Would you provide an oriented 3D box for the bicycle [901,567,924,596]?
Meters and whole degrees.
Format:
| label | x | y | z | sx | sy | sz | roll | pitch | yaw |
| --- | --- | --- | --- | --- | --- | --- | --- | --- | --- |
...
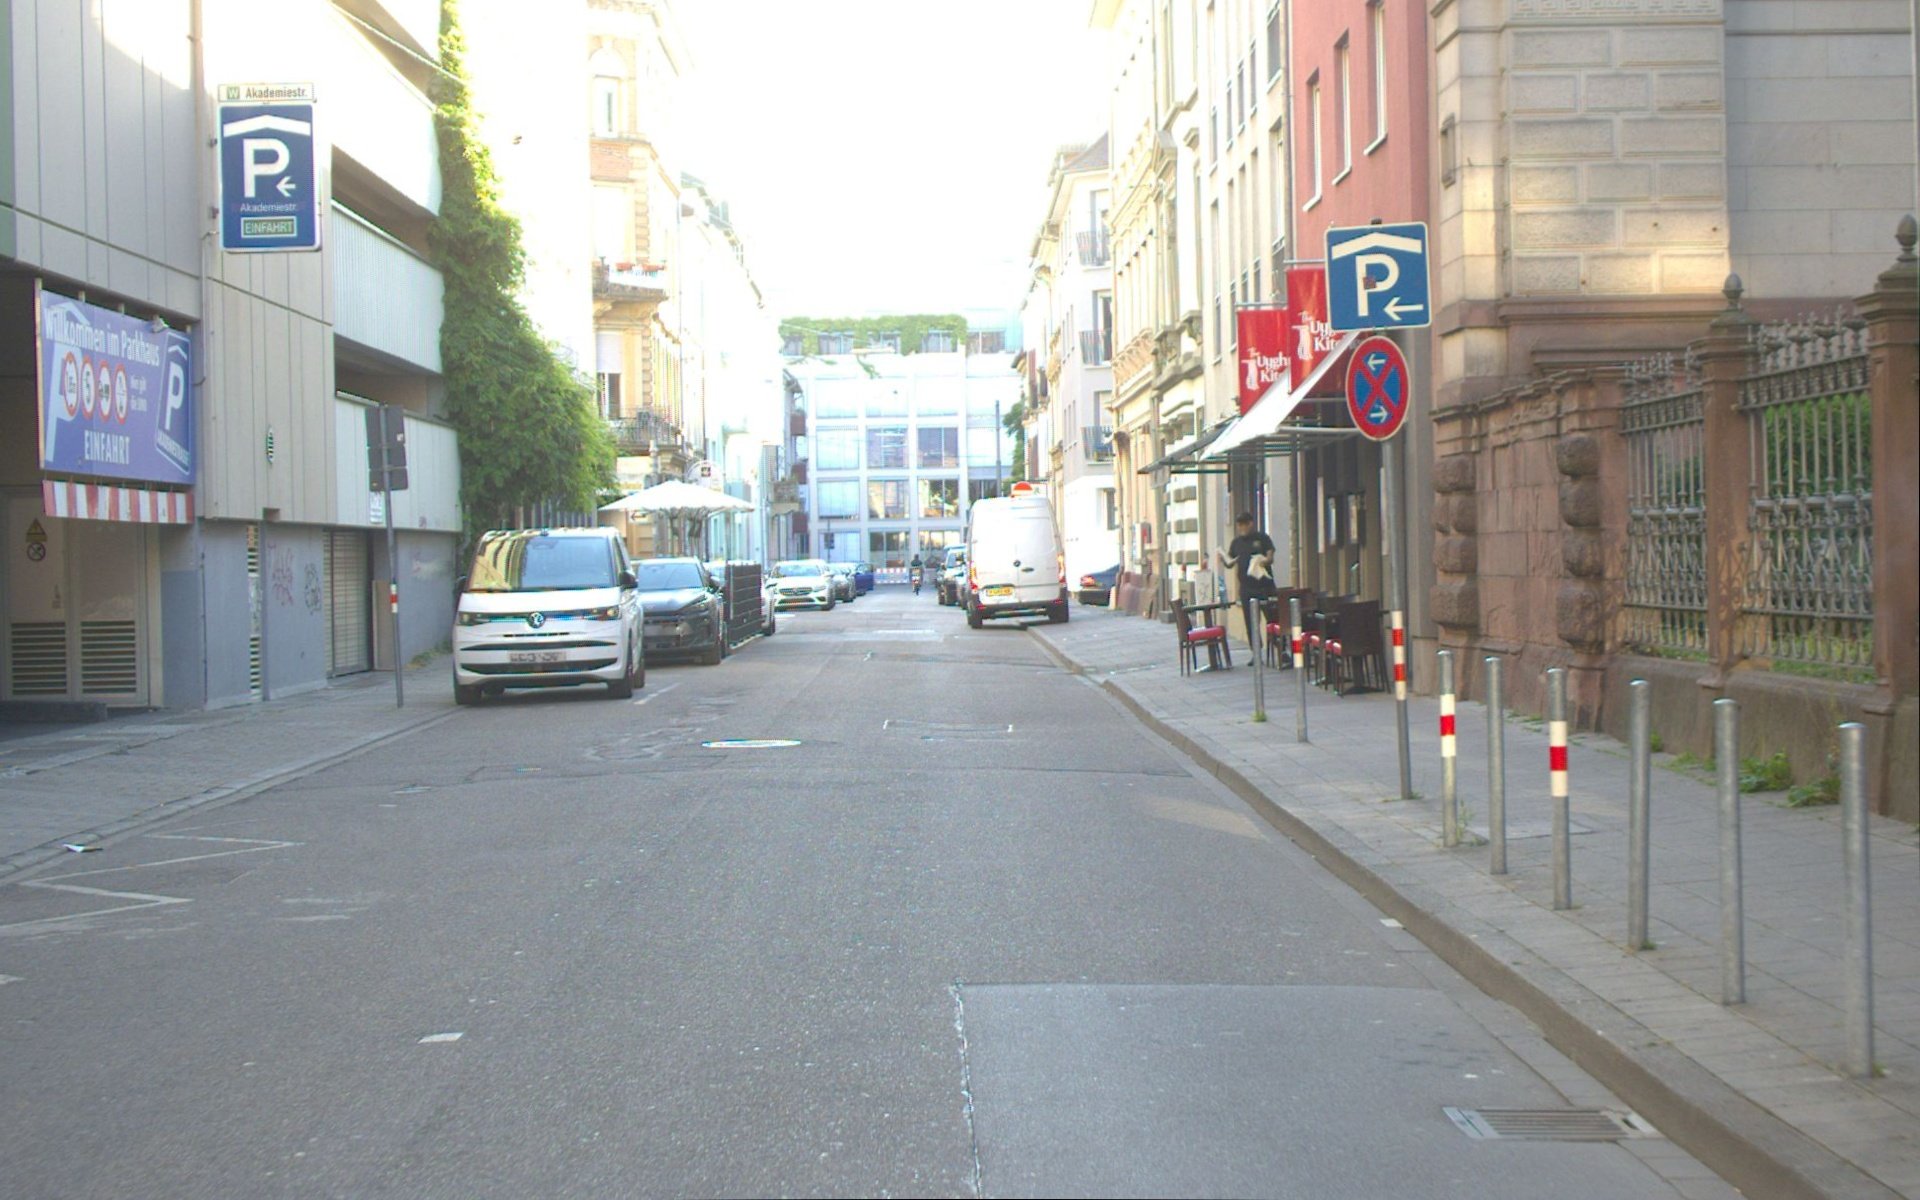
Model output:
| label | x | y | z | sx | sy | sz | roll | pitch | yaw |
| --- | --- | --- | --- | --- | --- | --- | --- | --- | --- |
| bicycle | -2.113 | -0.835 | 154.052 | 0.975 | 1.276 | 2.754 | -1 | 0 | 0 |

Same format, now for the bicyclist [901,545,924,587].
| label | x | y | z | sx | sy | sz | roll | pitch | yaw |
| --- | --- | --- | --- | --- | --- | --- | --- | --- | --- |
| bicyclist | -2.120 | -1.531 | 153.921 | 0.990 | 1.862 | 0.708 | -1 | 0 | 0 |

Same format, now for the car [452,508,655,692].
| label | x | y | z | sx | sy | sz | roll | pitch | yaw |
| --- | --- | --- | --- | --- | --- | --- | --- | --- | --- |
| car | -4.502 | -0.027 | 38.688 | 1.883 | 1.905 | 4.748 | -1 | 1 | -2 |

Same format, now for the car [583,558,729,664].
| label | x | y | z | sx | sy | sz | roll | pitch | yaw |
| --- | --- | --- | --- | --- | --- | --- | --- | --- | --- |
| car | -4.383 | 0.126 | 50.014 | 1.883 | 1.448 | 4.000 | -1 | 1 | -2 |

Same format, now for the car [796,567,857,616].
| label | x | y | z | sx | sy | sz | roll | pitch | yaw |
| --- | --- | --- | --- | --- | --- | --- | --- | --- | --- |
| car | -4.687 | -0.288 | 121.205 | 1.993 | 1.678 | 4.000 | -1 | 0 | 0 |

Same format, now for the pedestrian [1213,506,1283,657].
| label | x | y | z | sx | sy | sz | roll | pitch | yaw |
| --- | --- | --- | --- | --- | --- | --- | --- | --- | --- |
| pedestrian | 3.263 | -0.214 | 38.973 | 0.662 | 1.660 | 0.624 | -3 | 1 | 0 |

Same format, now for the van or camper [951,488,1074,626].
| label | x | y | z | sx | sy | sz | roll | pitch | yaw |
| --- | --- | --- | --- | --- | --- | --- | --- | --- | --- |
| van or camper | 1.055 | -0.879 | 72.145 | 2.258 | 2.598 | 5.112 | -5 | 0 | 0 |

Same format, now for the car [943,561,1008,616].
| label | x | y | z | sx | sy | sz | roll | pitch | yaw |
| --- | --- | --- | --- | --- | --- | --- | --- | --- | --- |
| car | 0.475 | -0.363 | 108.562 | 1.993 | 1.678 | 4.000 | -1 | 0 | 0 |

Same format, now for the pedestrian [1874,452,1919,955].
| label | x | y | z | sx | sy | sz | roll | pitch | yaw |
| --- | --- | --- | --- | --- | --- | --- | --- | --- | --- |
| pedestrian | 3.378 | 0.333 | 11.241 | 0.484 | 1.652 | 0.619 | -3 | 1 | -8 |

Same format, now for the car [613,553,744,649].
| label | x | y | z | sx | sy | sz | roll | pitch | yaw |
| --- | --- | --- | --- | --- | --- | --- | --- | --- | --- |
| car | -4.464 | -0.007 | 54.932 | 1.883 | 1.448 | 4.000 | -1 | 1 | -2 |

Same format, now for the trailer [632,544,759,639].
| label | x | y | z | sx | sy | sz | roll | pitch | yaw |
| --- | --- | --- | --- | --- | --- | --- | --- | --- | --- |
| trailer | -4.515 | -0.135 | 59.187 | 1.993 | 1.552 | 4.000 | -1 | 0 | -2 |

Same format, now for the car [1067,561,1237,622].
| label | x | y | z | sx | sy | sz | roll | pitch | yaw |
| --- | --- | --- | --- | --- | --- | --- | --- | --- | --- |
| car | 4.601 | -0.201 | 82.719 | 3.987 | 1.415 | 1.656 | -1 | 0 | 0 |

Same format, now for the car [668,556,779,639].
| label | x | y | z | sx | sy | sz | roll | pitch | yaw |
| --- | --- | --- | --- | --- | --- | --- | --- | --- | --- |
| car | -4.344 | -0.071 | 63.607 | 1.883 | 1.448 | 4.000 | -1 | 1 | -2 |

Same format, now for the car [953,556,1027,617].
| label | x | y | z | sx | sy | sz | roll | pitch | yaw |
| --- | --- | --- | --- | --- | --- | --- | --- | --- | --- |
| car | 0.818 | -0.372 | 96.718 | 1.993 | 1.678 | 4.000 | -1 | 0 | 0 |

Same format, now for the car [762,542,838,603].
| label | x | y | z | sx | sy | sz | roll | pitch | yaw |
| --- | --- | --- | --- | --- | --- | --- | --- | --- | --- |
| car | -4.549 | -0.780 | 98.103 | 1.993 | 1.678 | 4.000 | -1 | 0 | 0 |
